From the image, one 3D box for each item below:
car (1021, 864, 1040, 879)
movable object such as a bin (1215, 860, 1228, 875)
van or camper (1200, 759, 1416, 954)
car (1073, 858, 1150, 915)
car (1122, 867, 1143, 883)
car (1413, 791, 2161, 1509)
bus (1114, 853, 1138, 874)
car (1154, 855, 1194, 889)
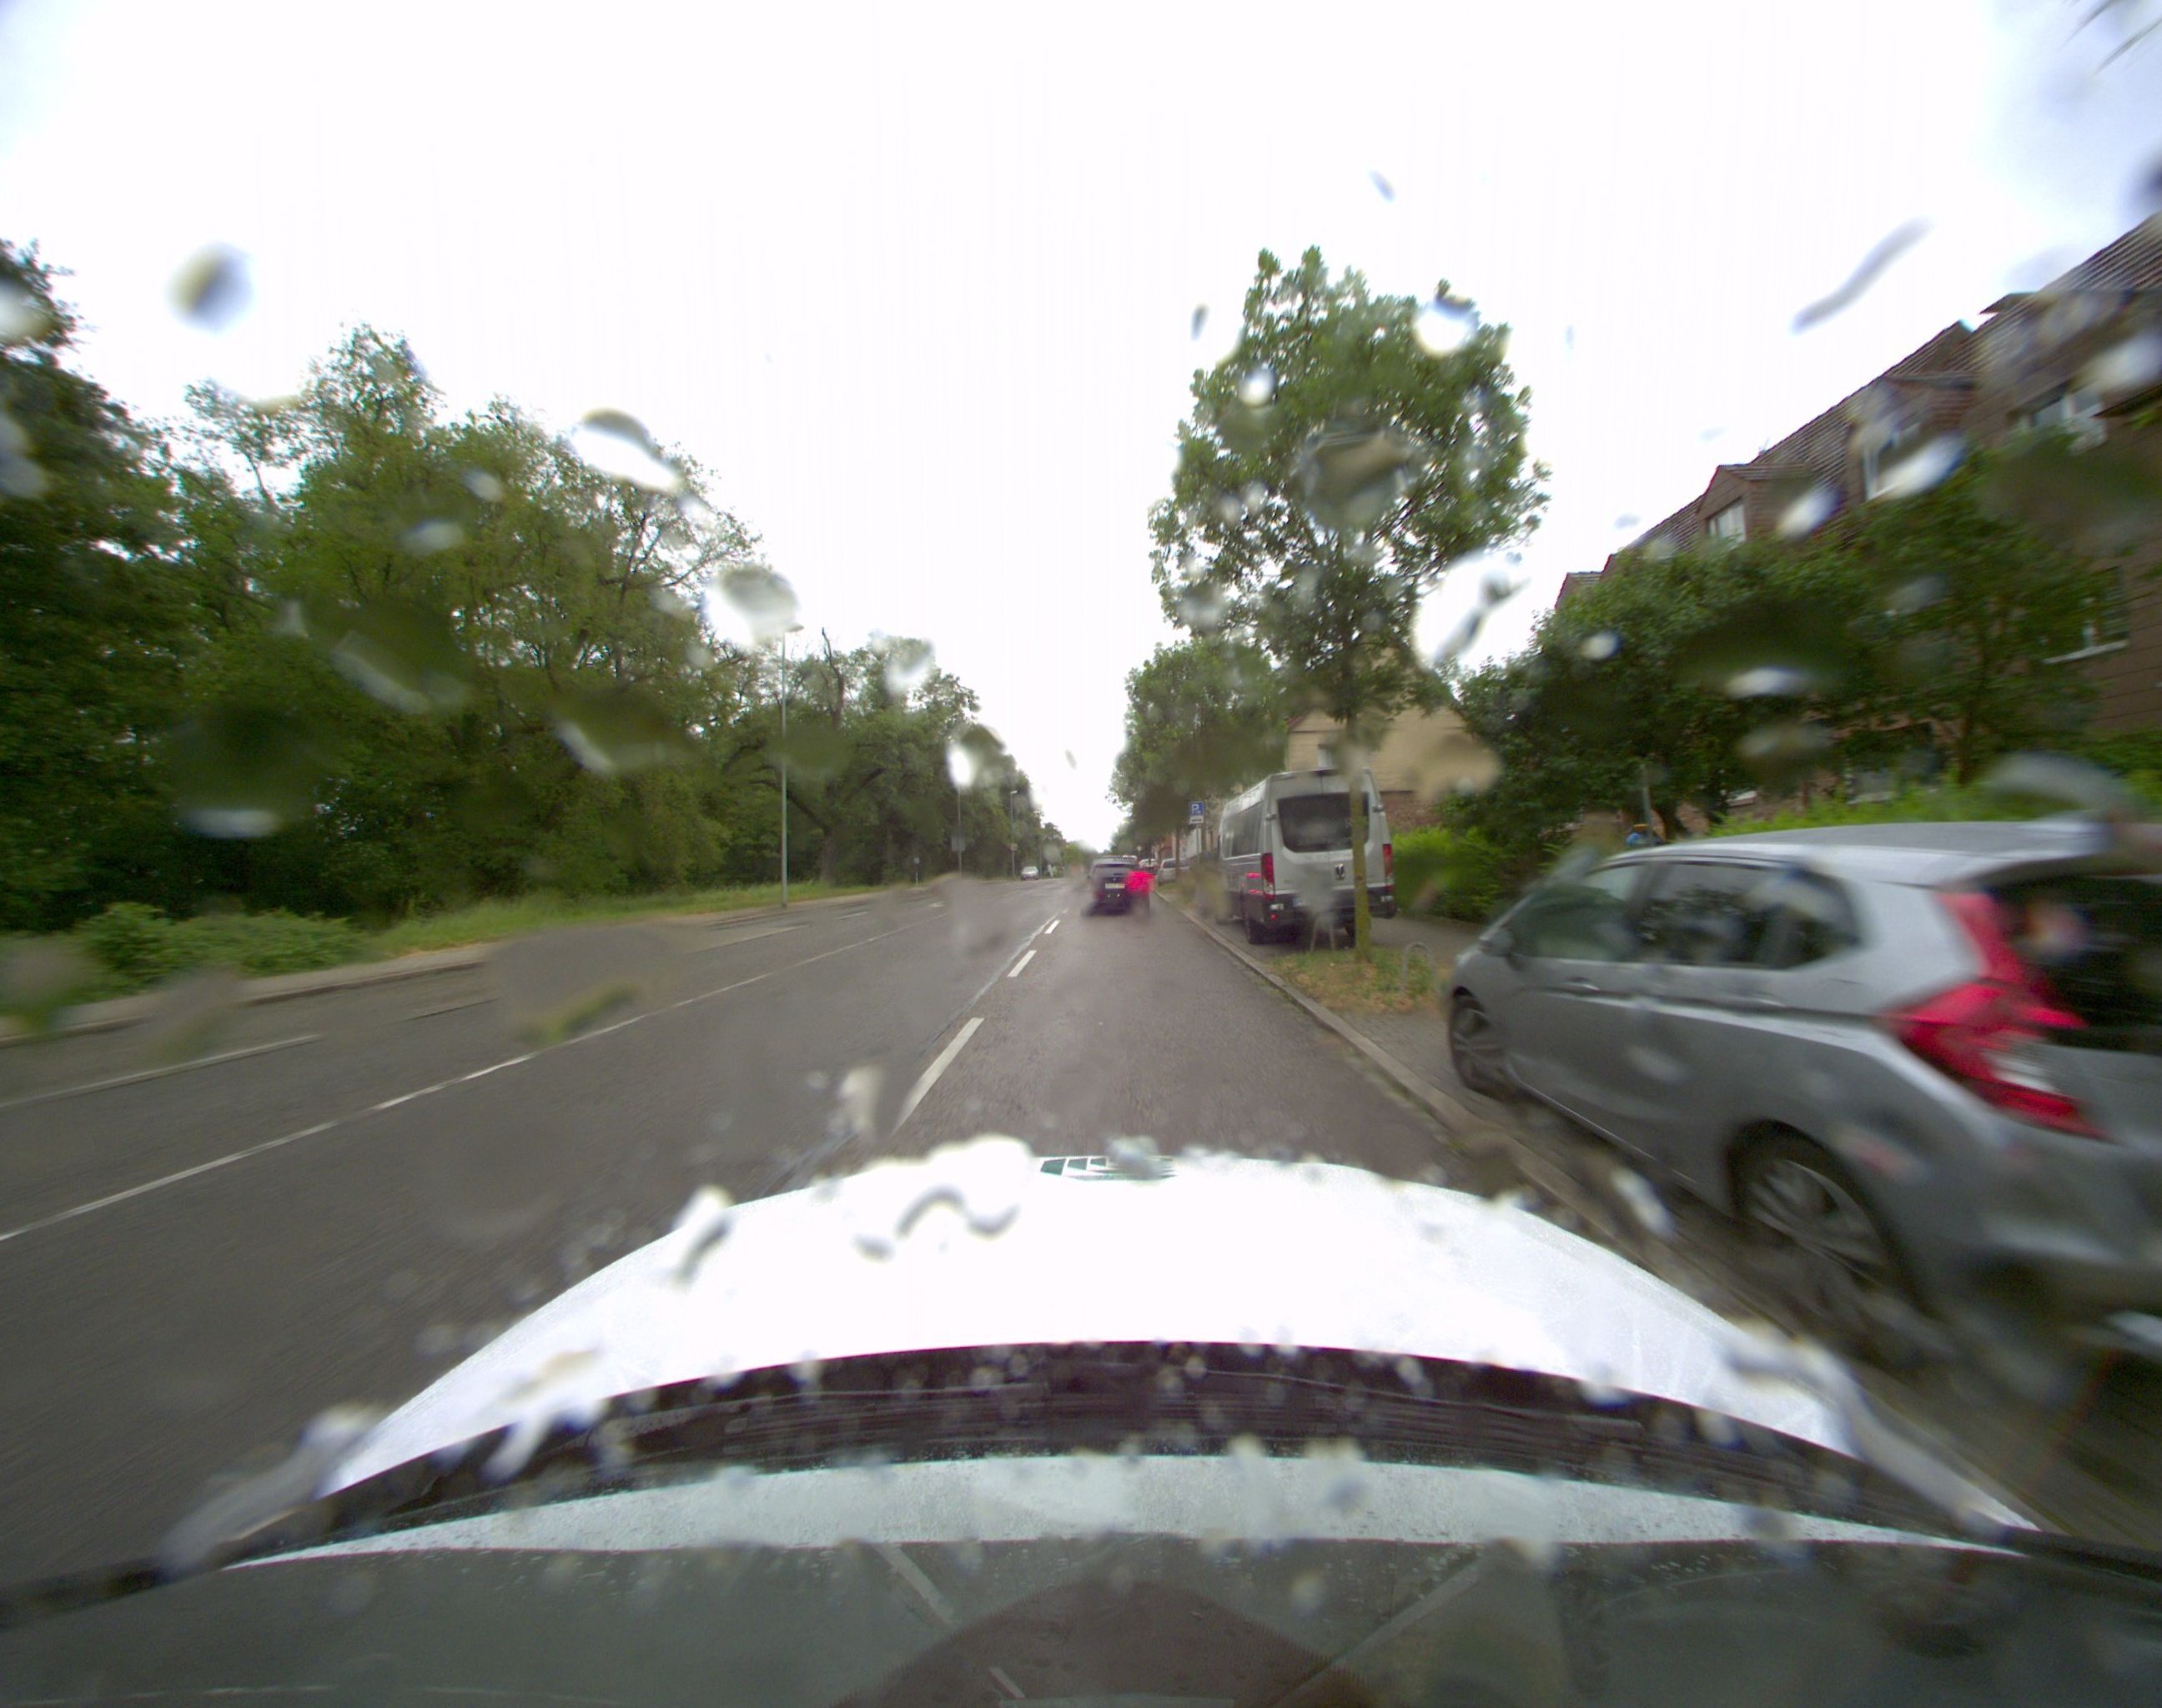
[{"bbox_3d":[-5.459,1.925,88.445,1.684,1.483,4.451,-4,-1,0],"label":"car"},{"bbox_3d":[9.404,0.918,54.525,0.697,0.965,0.942,0,0,2],"label":"movable object such as a bin"},{"bbox_3d":[3.769,0.029,15.288,2.189,2.651,7.306,-4,0,3],"label":"van or camper"},{"bbox_3d":[0.856,0.877,23.219,1.986,1.453,4.001,1,-1,2],"label":"car"},{"bbox_3d":[6.732,2.698,105.986,1.915,1.892,4.775,-5,-3,11],"label":"car"},{"bbox_3d":[3.032,0.617,3.663,1.661,1.528,3.836,-5,-1,4],"label":"car"},{"bbox_3d":[6.553,1.325,117.394,2.608,2.847,8.306,-3,-1,8],"label":"bus"},{"bbox_3d":[4.891,0.904,43.311,1.695,1.584,4.646,-5,0,3],"label":"car"}]
